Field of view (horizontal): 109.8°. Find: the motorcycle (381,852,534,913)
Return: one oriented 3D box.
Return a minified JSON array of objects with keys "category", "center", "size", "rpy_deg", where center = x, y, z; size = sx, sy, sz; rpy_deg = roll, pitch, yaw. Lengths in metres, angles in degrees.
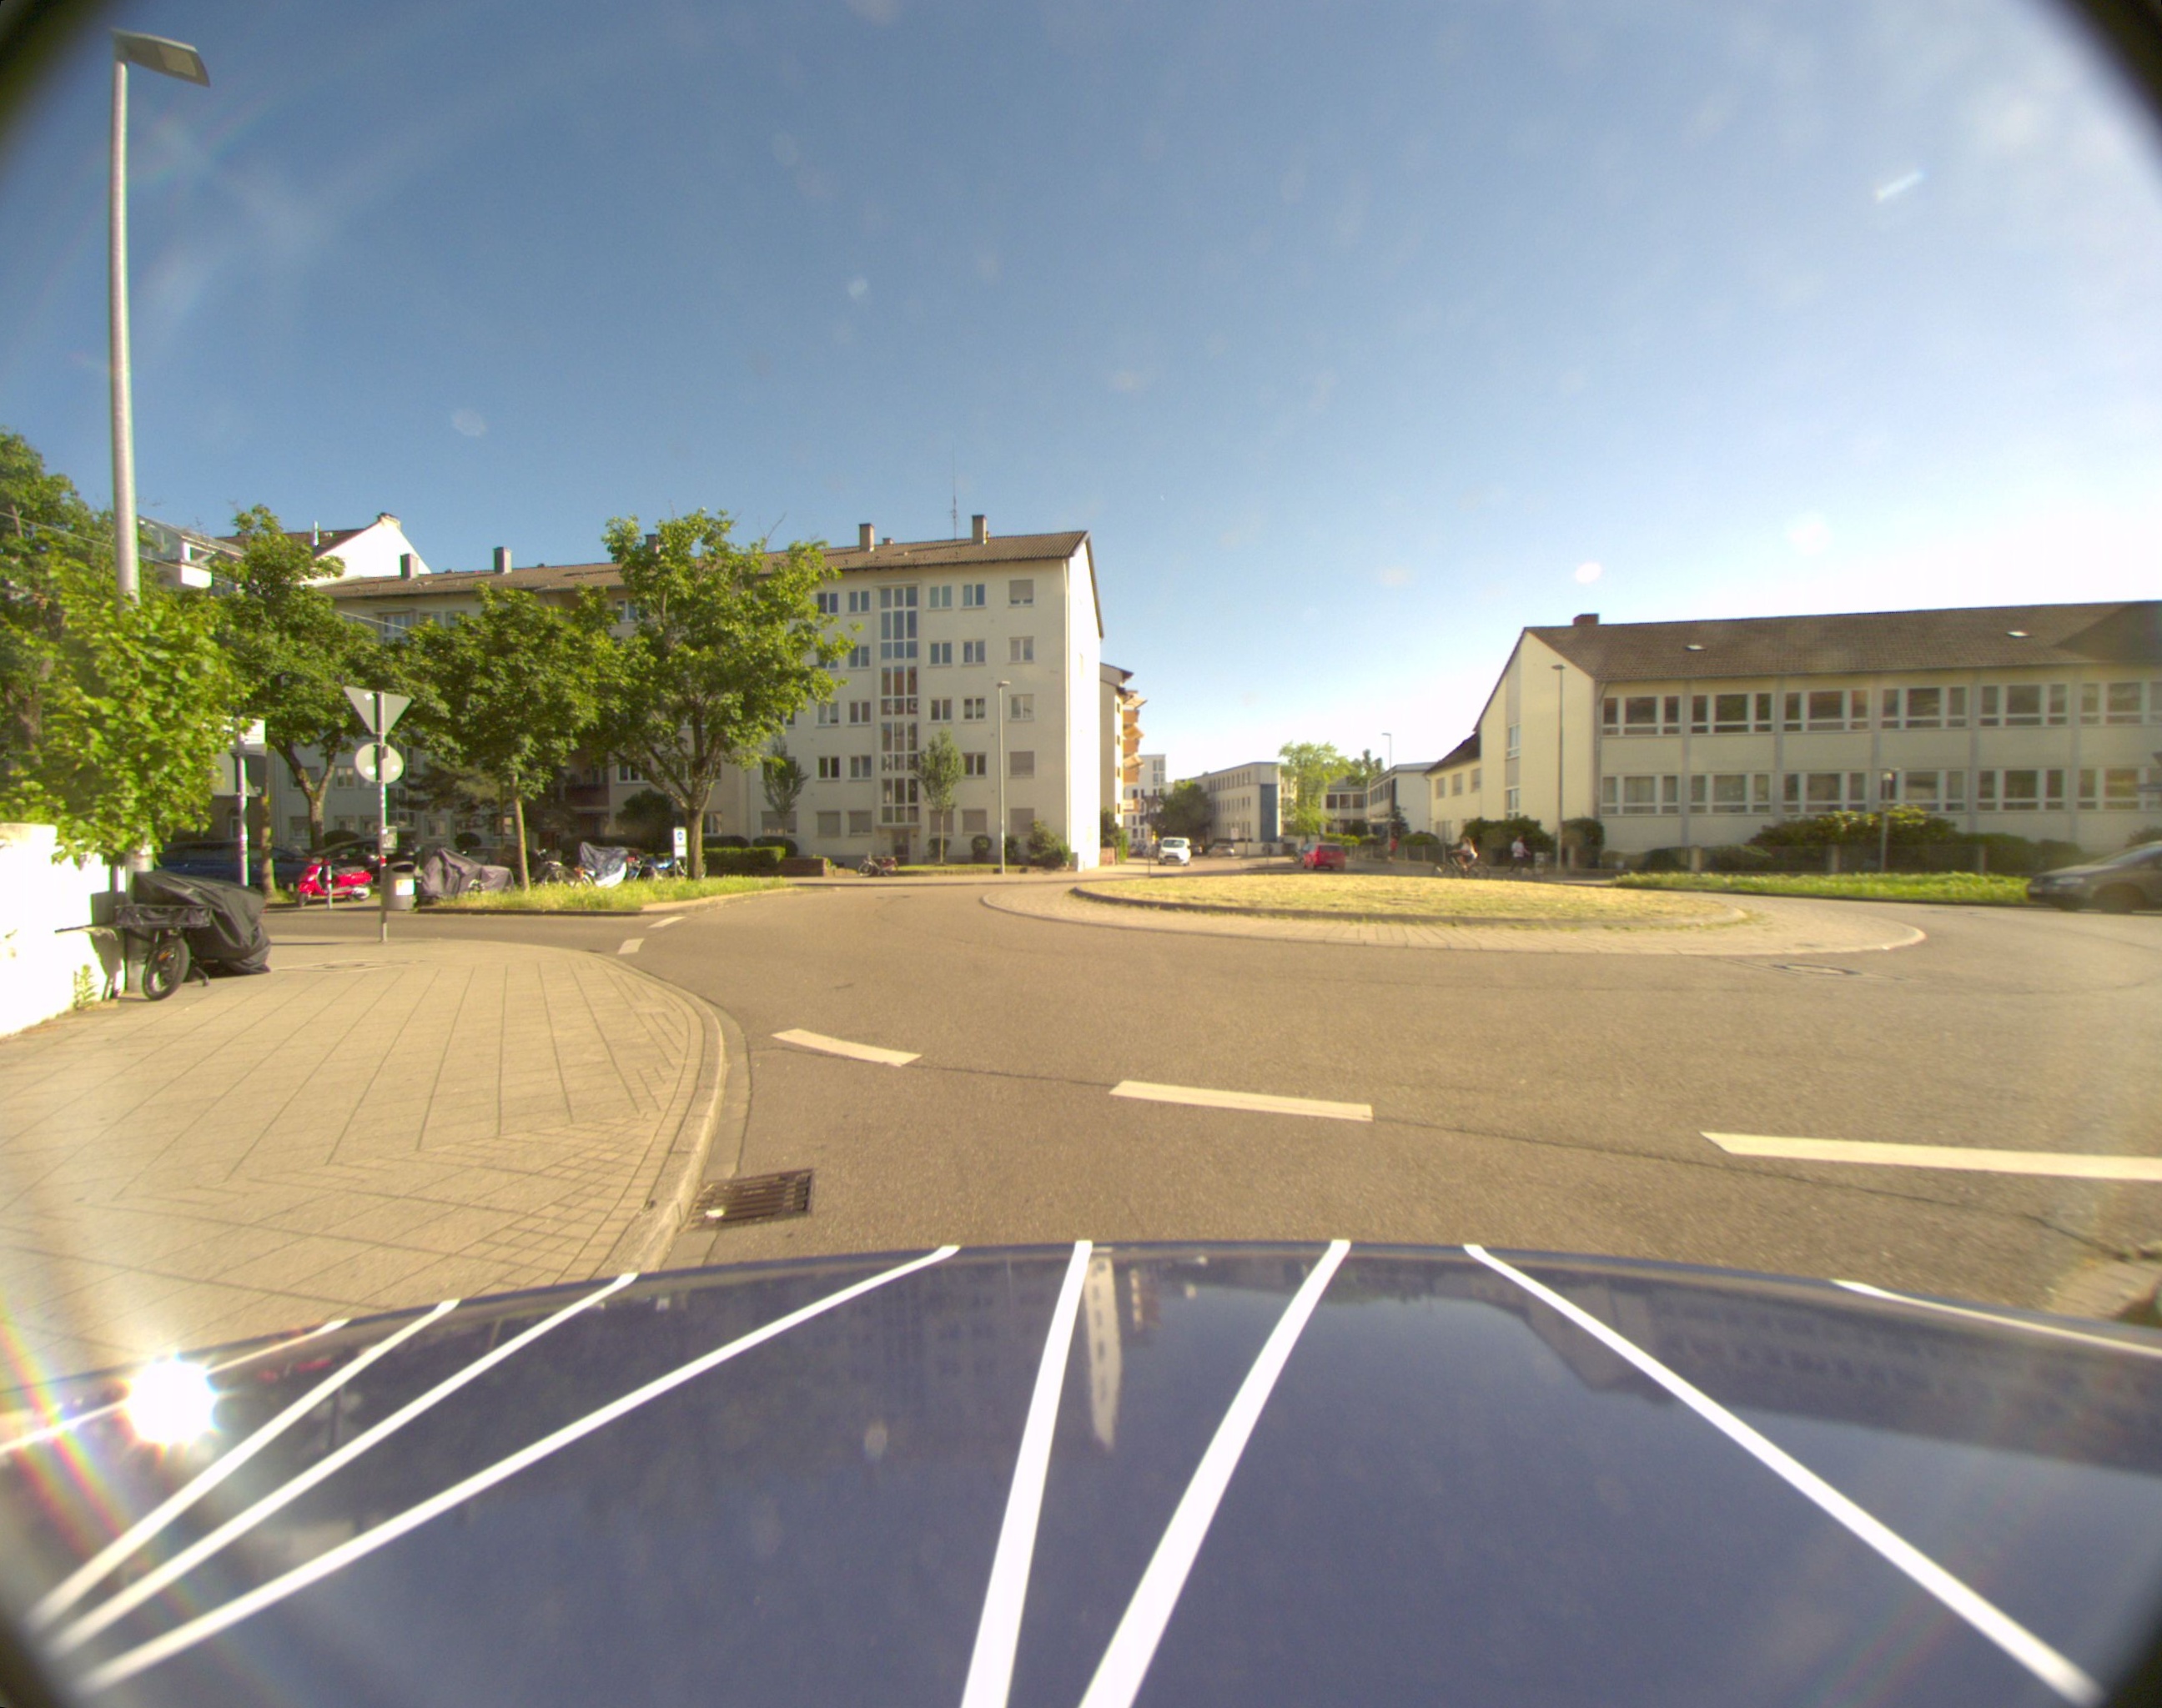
[{"category":"motorcycle","center":[-14.285,0.596,17.580],"size":[1.126,1.260,2.784],"rpy_deg":[0,1,3]}]

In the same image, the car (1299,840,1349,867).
[{"category":"car","center":[13.136,-0.024,41.211],"size":[1.715,1.374,4.001],"rpy_deg":[1,0,5]}]

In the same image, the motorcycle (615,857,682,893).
[{"category":"motorcycle","center":[-13.354,0.625,23.523],"size":[0.813,1.066,1.846],"rpy_deg":[0,0,8]}]

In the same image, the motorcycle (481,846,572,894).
[{"category":"motorcycle","center":[-16.897,0.460,23.238],"size":[1.061,1.384,2.128],"rpy_deg":[0,1,6]}]

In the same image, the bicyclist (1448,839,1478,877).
[{"category":"bicyclist","center":[13.417,0.139,26.680],"size":[0.823,1.305,0.813],"rpy_deg":[0,2,33]}]

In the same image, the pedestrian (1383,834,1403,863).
[{"category":"pedestrian","center":[18.602,-0.360,45.330],"size":[0.818,1.696,0.997],"rpy_deg":[-1,1,6]}]

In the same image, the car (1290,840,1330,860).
[{"category":"car","center":[17.409,-0.327,57.936],"size":[1.884,1.426,4.415],"rpy_deg":[-1,1,4]}]

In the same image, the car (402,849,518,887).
[{"category":"car","center":[-25.026,0.527,30.642],"size":[3.991,1.477,1.787],"rpy_deg":[0,0,19]}]

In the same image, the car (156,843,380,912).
[{"category":"car","center":[-21.645,0.538,20.377],"size":[1.798,1.630,3.884],"rpy_deg":[1,1,37]}]

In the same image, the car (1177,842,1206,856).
[{"category":"car","center":[14.004,-0.674,96.897],"size":[2.139,1.604,4.830],"rpy_deg":[-2,1,-11]}]

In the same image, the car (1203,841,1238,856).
[{"category":"car","center":[15.926,-0.603,86.915],"size":[2.140,1.604,4.829],"rpy_deg":[-2,1,-12]}]

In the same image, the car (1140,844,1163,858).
[{"category":"car","center":[7.861,-0.373,84.612],"size":[1.758,1.445,3.997],"rpy_deg":[3,1,-5]}]

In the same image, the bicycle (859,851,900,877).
[{"category":"bicycle","center":[-8.481,0.433,31.973],"size":[1.623,1.073,0.384],"rpy_deg":[0,4,2]}]

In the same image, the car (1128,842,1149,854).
[{"category":"car","center":[9.195,-0.980,122.711],"size":[2.139,1.800,4.830],"rpy_deg":[-2,1,-11]}]

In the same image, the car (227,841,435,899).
[{"category":"car","center":[-22.629,0.408,23.113],"size":[1.995,1.588,4.007],"rpy_deg":[0,1,26]}]

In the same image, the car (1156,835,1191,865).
[{"category":"car","center":[6.674,-0.307,54.448],"size":[1.996,2.002,4.801],"rpy_deg":[3,1,11]}]

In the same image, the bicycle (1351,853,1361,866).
[{"category":"bicycle","center":[21.044,0.412,58.119],"size":[0.345,1.010,1.263],"rpy_deg":[0,1,4]}]

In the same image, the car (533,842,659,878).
[{"category":"car","center":[-19.227,0.228,30.201],"size":[3.994,1.403,1.834],"rpy_deg":[0,0,9]}]

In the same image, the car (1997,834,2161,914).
[{"category":"car","center":[23.558,0.416,16.522],"size":[4.262,1.686,1.884],"rpy_deg":[0,0,27]}]

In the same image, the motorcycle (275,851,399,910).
[{"category":"motorcycle","center":[-17.540,0.595,17.992],"size":[0.888,1.230,1.894],"rpy_deg":[0,3,8]}]

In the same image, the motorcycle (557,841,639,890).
[{"category":"motorcycle","center":[-13.586,0.283,21.471],"size":[0.862,1.320,2.054],"rpy_deg":[0,1,5]}]

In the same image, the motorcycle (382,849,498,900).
[{"category":"motorcycle","center":[-17.181,0.522,20.461],"size":[1.050,1.260,2.243],"rpy_deg":[0,1,8]}]

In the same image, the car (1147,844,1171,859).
[{"category":"car","center":[8.230,-0.313,80.122],"size":[1.758,1.445,3.997],"rpy_deg":[3,1,-4]}]

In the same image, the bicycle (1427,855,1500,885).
[{"category":"bicycle","center":[13.427,0.547,26.695],"size":[2.204,1.008,0.813],"rpy_deg":[-1,1,33]}]

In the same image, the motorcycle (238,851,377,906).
[{"category":"motorcycle","center":[-19.425,0.572,19.181],"size":[1.050,1.260,2.243],"rpy_deg":[0,1,8]}]

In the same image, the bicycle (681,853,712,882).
[{"category":"bicycle","center":[-15.590,0.534,30.860],"size":[0.330,1.051,1.450],"rpy_deg":[0,3,7]}]

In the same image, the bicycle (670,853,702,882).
[{"category":"bicycle","center":[-16.059,0.530,30.918],"size":[0.330,1.051,1.450],"rpy_deg":[0,3,7]}]

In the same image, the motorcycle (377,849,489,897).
[{"category":"motorcycle","center":[-18.234,0.492,21.465],"size":[1.050,1.260,2.243],"rpy_deg":[0,1,8]}]

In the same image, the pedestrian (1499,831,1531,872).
[{"category":"pedestrian","center":[18.255,-0.092,31.962],"size":[0.693,1.696,0.994],"rpy_deg":[-3,2,-44]}]

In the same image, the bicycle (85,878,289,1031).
[{"category":"bicycle","center":[-8.383,0.843,7.257],"size":[0.768,1.151,2.280],"rpy_deg":[-2,1,-38]}]

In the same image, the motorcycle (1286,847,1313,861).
[{"category":"motorcycle","center":[17.535,-0.015,61.084],"size":[1.958,1.089,0.592],"rpy_deg":[-1,0,32]}]
